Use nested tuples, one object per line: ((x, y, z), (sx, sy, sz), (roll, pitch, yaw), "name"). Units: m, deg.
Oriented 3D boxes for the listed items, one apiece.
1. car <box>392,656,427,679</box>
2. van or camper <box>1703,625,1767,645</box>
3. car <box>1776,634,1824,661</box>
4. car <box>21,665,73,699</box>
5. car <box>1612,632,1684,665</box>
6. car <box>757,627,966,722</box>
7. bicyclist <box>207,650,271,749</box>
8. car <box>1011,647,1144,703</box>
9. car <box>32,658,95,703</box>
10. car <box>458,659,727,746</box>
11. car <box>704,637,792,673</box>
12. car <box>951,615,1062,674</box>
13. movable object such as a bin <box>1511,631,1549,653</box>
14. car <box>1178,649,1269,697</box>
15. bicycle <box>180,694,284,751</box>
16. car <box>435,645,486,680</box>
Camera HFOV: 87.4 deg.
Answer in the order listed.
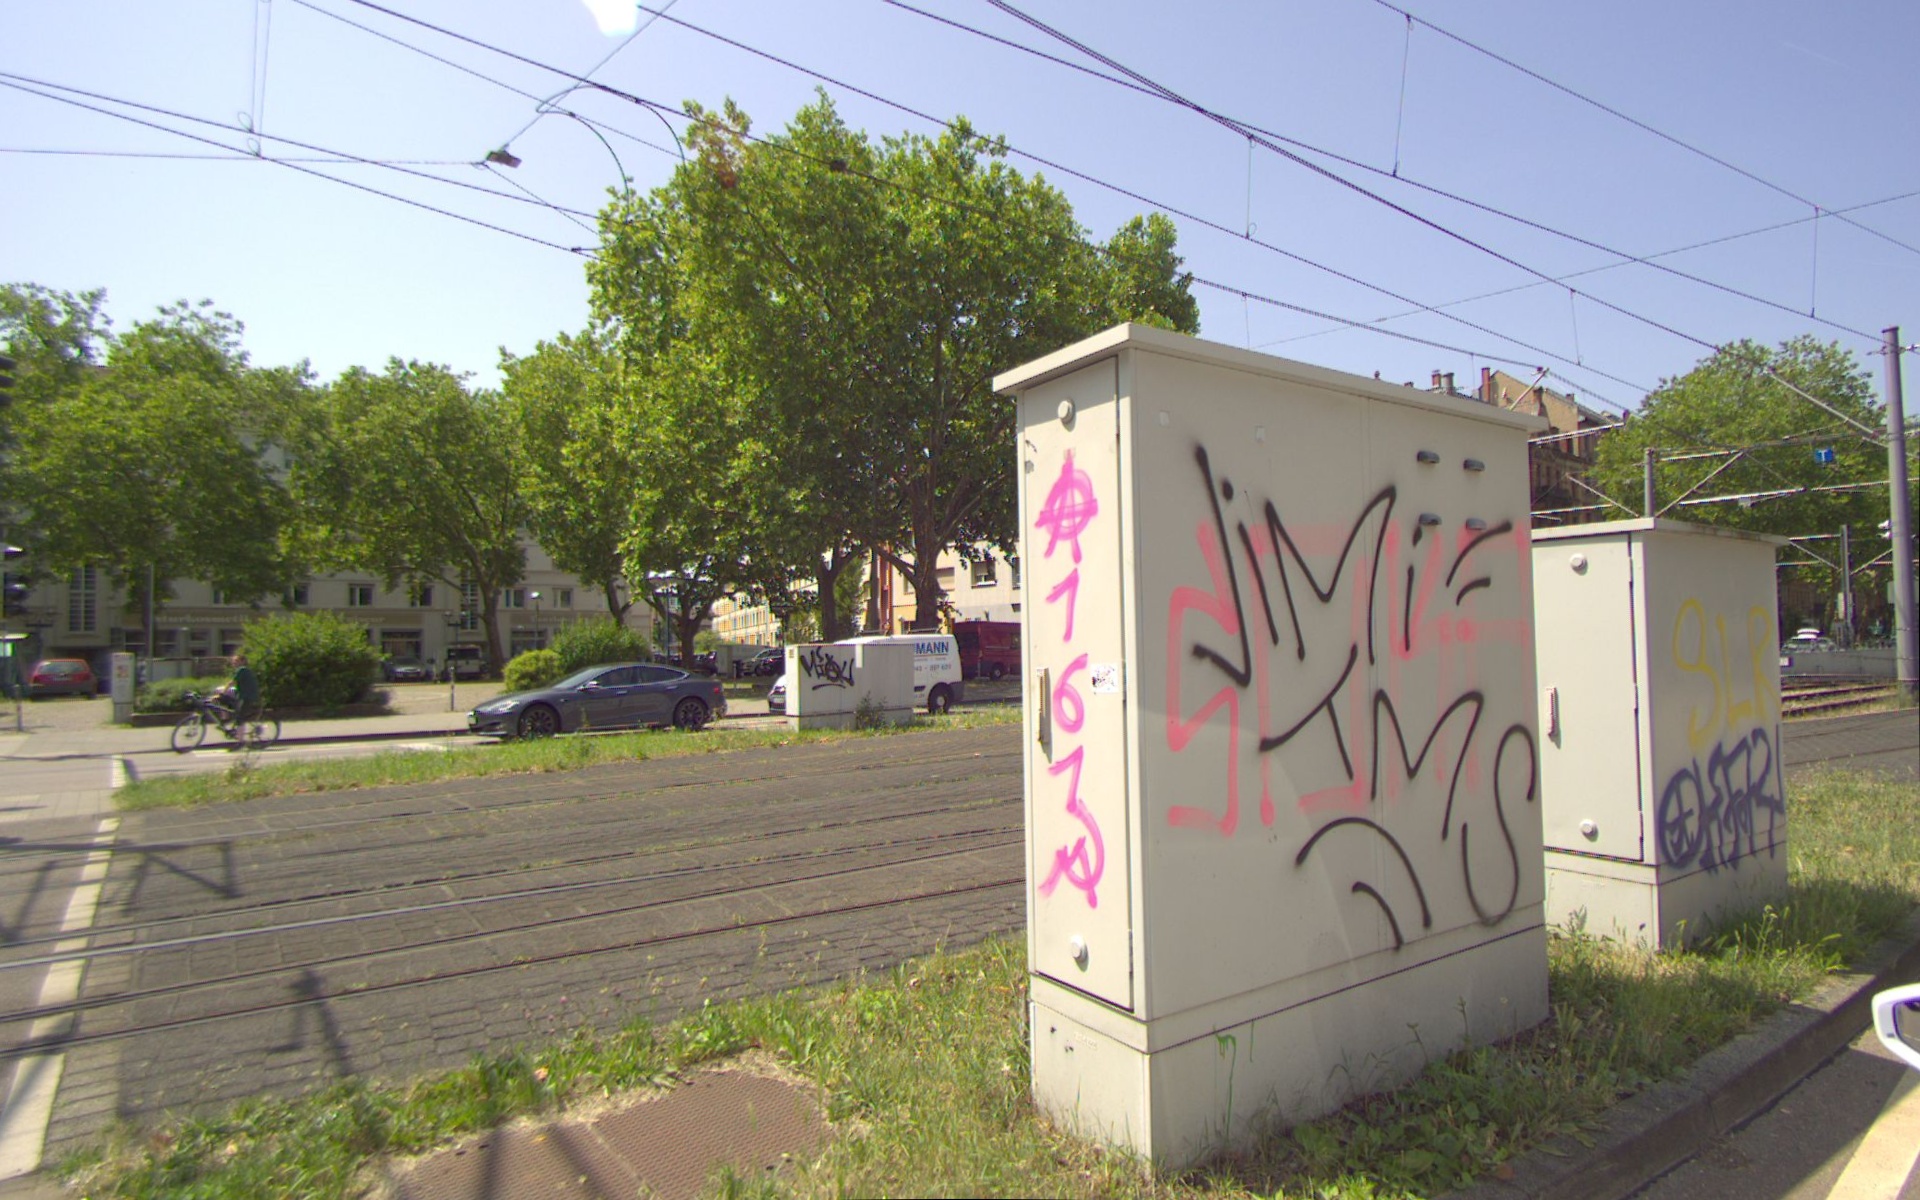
((-36.957, 4.490, 67.389), (1.606, 1.428, 3.888), (1, -2, -35), "car")
((74.454, 3.367, 96.522), (1.911, 1.861, 4.518), (1, -2, -33), "van or camper")
((63.213, 3.566, 75.547), (4.680, 1.929, 1.977), (1, -2, -41), "car")
((-33.924, 3.016, 37.370), (1.347, 1.112, 2.706), (1, -2, -41), "car")
((36.697, 2.578, 53.534), (4.562, 1.646, 1.833), (1, -4, -39), "car")
((-2.223, 1.662, 23.643), (4.767, 2.017, 1.762), (1, -3, -41), "car")
((-13.035, 1.775, 18.169), (0.862, 1.708, 0.632), (1, -2, -43), "bicyclist")
((3.374, 2.110, 28.583), (3.751, 1.438, 1.584), (1, -5, -40), "car")
((-30.634, 2.711, 34.380), (1.460, 1.402, 3.307), (1, -2, -39), "car")
((-7.099, 1.911, 19.670), (4.592, 1.377, 1.931), (1, -3, -41), "car")
((-12.858, 3.327, 61.139), (5.074, 2.016, 1.898), (1, -3, -45), "car")
((2.054, 1.874, 43.229), (4.945, 2.424, 1.830), (1, -3, -42), "car")
((36.958, 2.736, 65.159), (1.458, 1.403, 1.767), (1, -3, -41), "movable object such as a bin")
((10.362, 2.811, 39.367), (3.677, 1.706, 1.640), (1, -2, -40), "car")
((-13.112, 2.191, 18.108), (1.471, 0.894, 0.491), (1, -2, -42), "bicycle")
((-29.764, 3.673, 59.762), (2.144, 1.975, 3.961), (1, -2, -35), "car")
